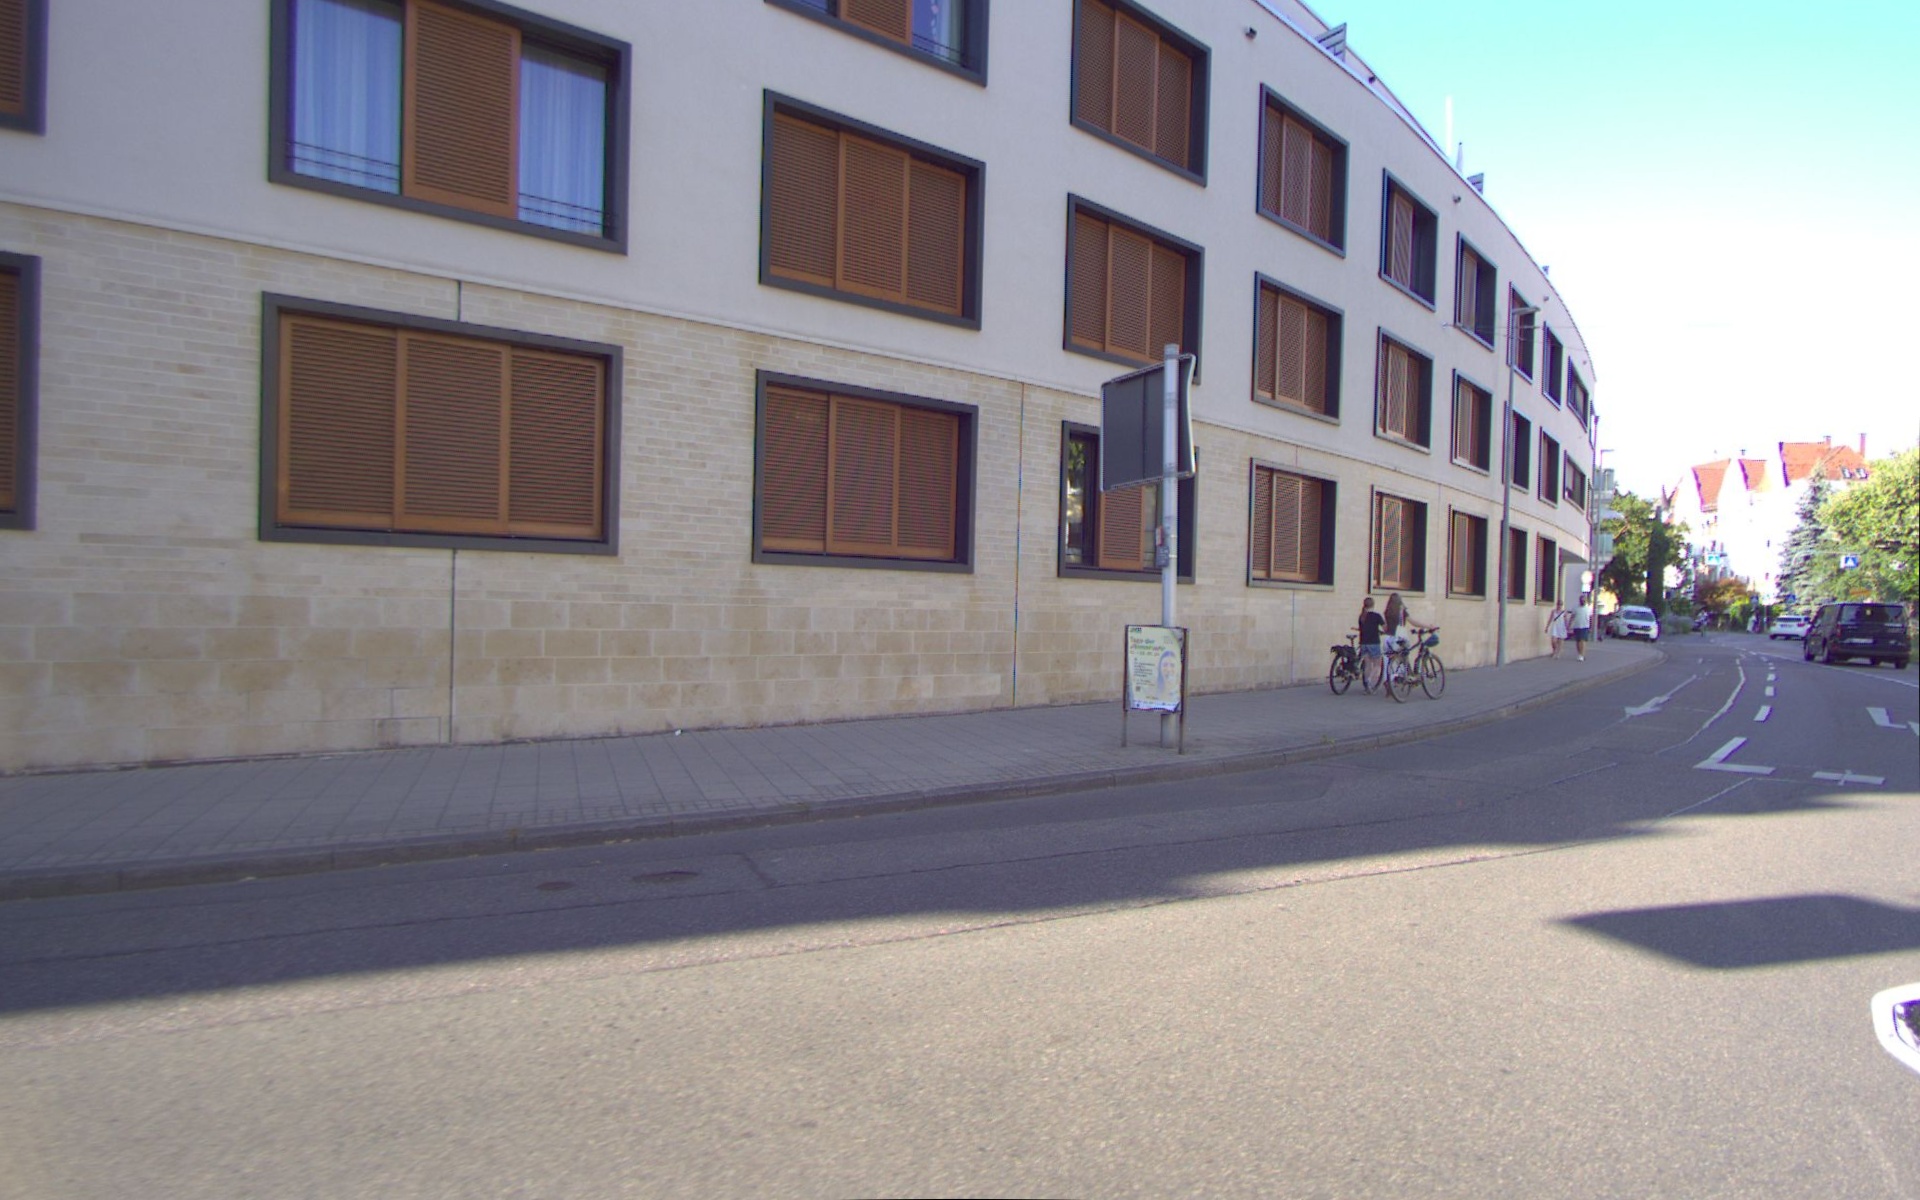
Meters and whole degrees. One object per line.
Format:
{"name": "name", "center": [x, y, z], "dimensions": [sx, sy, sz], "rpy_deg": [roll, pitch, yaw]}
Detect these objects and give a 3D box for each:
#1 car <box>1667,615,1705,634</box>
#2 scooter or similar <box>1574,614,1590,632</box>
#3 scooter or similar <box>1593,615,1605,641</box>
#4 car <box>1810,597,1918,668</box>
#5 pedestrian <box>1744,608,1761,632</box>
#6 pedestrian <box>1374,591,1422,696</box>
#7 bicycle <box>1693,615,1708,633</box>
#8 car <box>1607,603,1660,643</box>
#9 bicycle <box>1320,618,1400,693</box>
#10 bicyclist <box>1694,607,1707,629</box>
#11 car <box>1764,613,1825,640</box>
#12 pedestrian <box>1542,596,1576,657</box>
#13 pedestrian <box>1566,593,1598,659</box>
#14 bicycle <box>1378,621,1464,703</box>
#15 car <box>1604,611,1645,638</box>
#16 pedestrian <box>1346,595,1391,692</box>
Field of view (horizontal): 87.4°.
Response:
{"name": "car", "center": [71.214, 2.385, 98.562], "dimensions": [1.961, 1.617, 3.999], "rpy_deg": [3, 0, 21]}
{"name": "scooter or similar", "center": [44.776, 1.625, 72.342], "dimensions": [0.499, 1.245, 1.541], "rpy_deg": [3, 0, 15]}
{"name": "scooter or similar", "center": [30.126, 1.334, 47.366], "dimensions": [0.399, 1.191, 0.945], "rpy_deg": [1, 1, 28]}
{"name": "car", "center": [28.952, 0.982, 32.296], "dimensions": [1.966, 2.041, 3.988], "rpy_deg": [3, 1, 34]}
{"name": "pedestrian", "center": [58.226, 1.470, 73.792], "dimensions": [0.858, 1.679, 0.904], "rpy_deg": [3, 1, 36]}
{"name": "pedestrian", "center": [7.118, 0.690, 16.330], "dimensions": [0.597, 1.669, 0.470], "rpy_deg": [1, 1, -40]}
{"name": "bicycle", "center": [47.587, 1.534, 64.568], "dimensions": [0.613, 1.096, 1.779], "rpy_deg": [1, 0, 31]}
{"name": "car", "center": [35.514, 1.212, 53.066], "dimensions": [1.784, 1.894, 4.326], "rpy_deg": [4, 1, 28]}
{"name": "bicycle", "center": [6.641, 0.899, 16.639], "dimensions": [1.821, 1.183, 0.373], "rpy_deg": [1, 0, -39]}
{"name": "bicyclist", "center": [47.620, 1.140, 64.599], "dimensions": [0.613, 1.398, 0.799], "rpy_deg": [1, 0, 32]}
{"name": "car", "center": [50.244, 1.575, 60.498], "dimensions": [3.648, 1.525, 1.946], "rpy_deg": [1, 0, -35]}
{"name": "pedestrian", "center": [17.722, 0.786, 29.722], "dimensions": [0.693, 1.737, 0.839], "rpy_deg": [3, 1, 38]}
{"name": "pedestrian", "center": [18.177, 0.757, 29.347], "dimensions": [0.598, 1.873, 0.989], "rpy_deg": [3, 1, 38]}
{"name": "bicycle", "center": [7.303, 0.949, 15.871], "dimensions": [1.951, 1.194, 0.436], "rpy_deg": [0, 2, -41]}
{"name": "car", "center": [41.348, 1.512, 62.473], "dimensions": [1.688, 1.486, 4.572], "rpy_deg": [5, 3, 38]}
{"name": "pedestrian", "center": [6.793, 0.710, 16.708], "dimensions": [0.597, 1.586, 0.470], "rpy_deg": [1, 0, -40]}
